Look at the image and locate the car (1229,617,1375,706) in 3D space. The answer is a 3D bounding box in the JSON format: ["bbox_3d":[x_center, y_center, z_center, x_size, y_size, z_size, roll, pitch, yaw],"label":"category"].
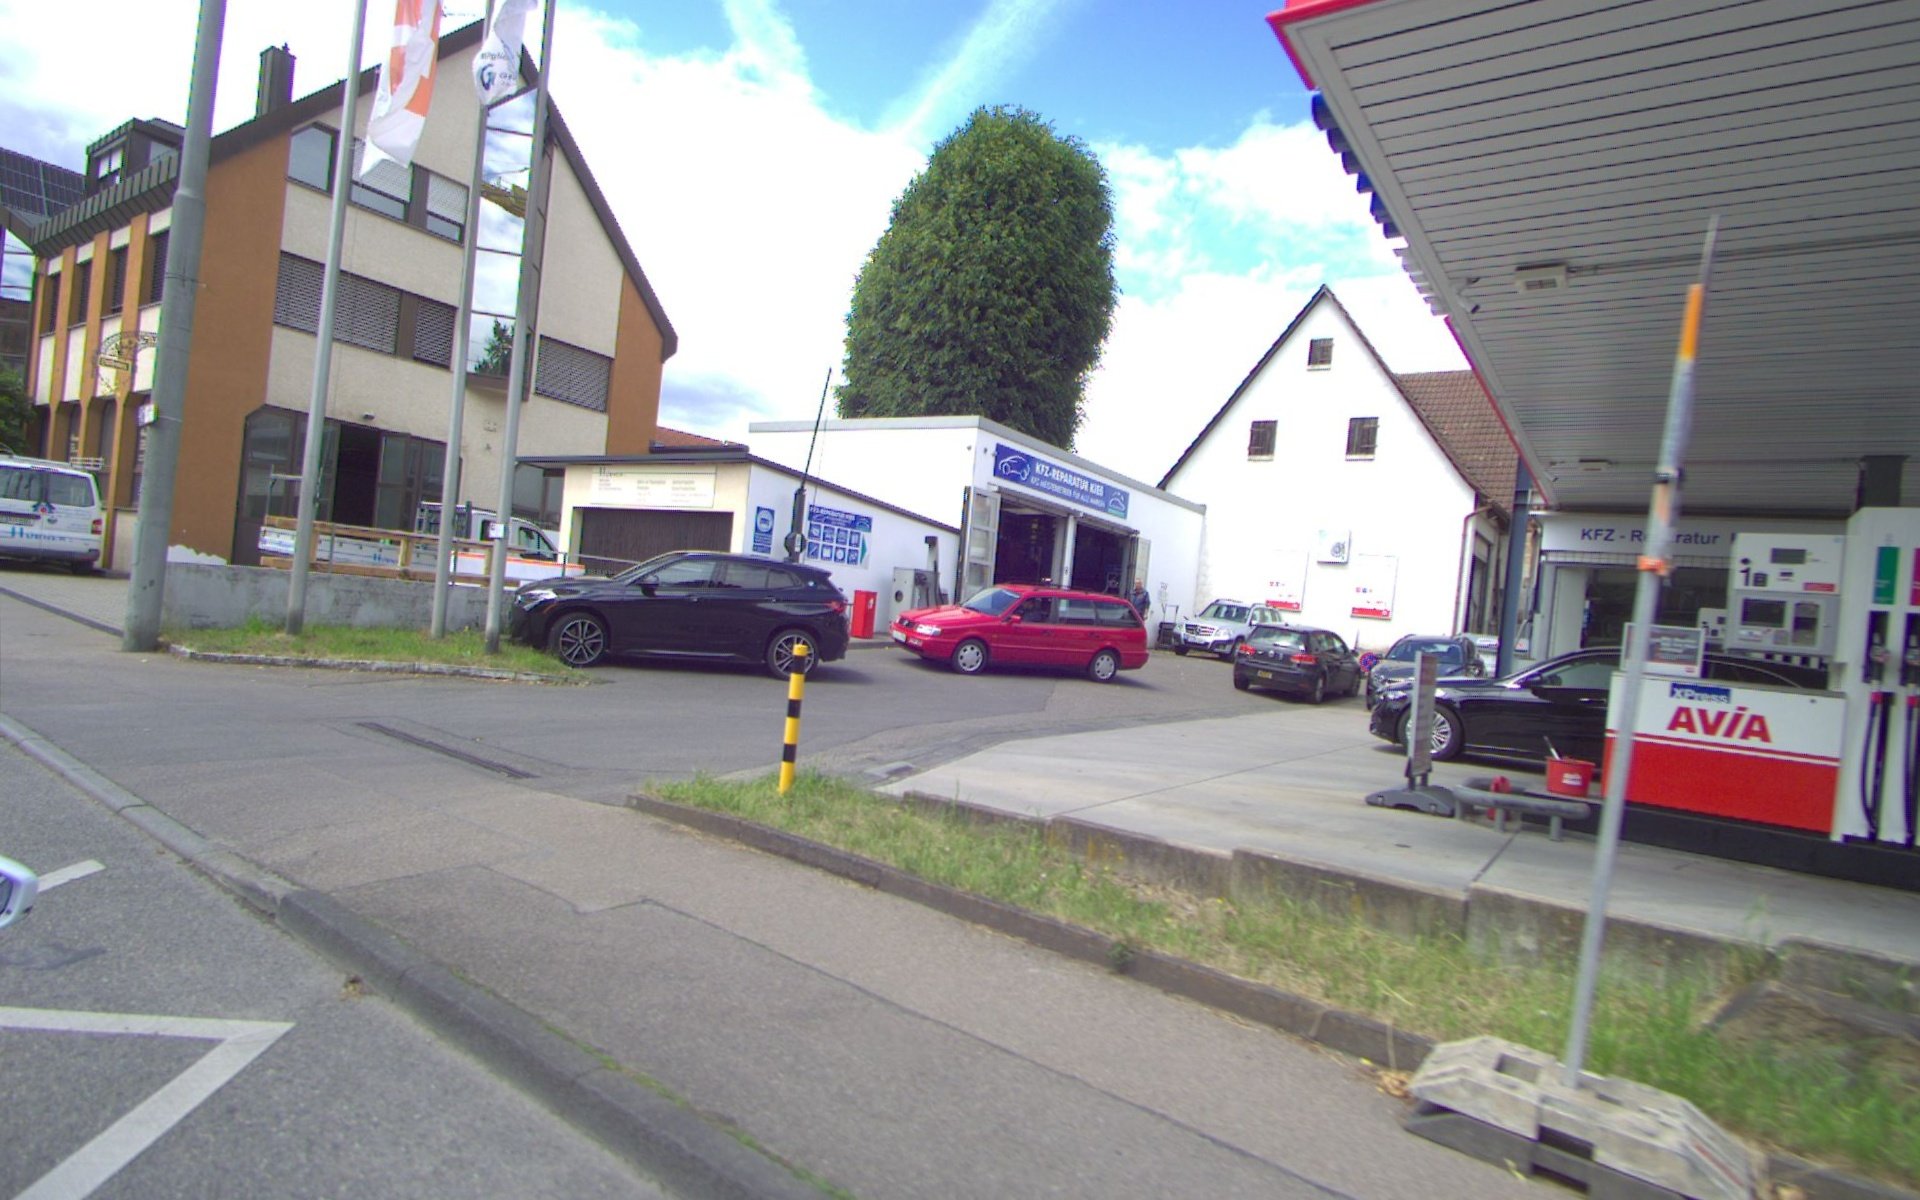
[{"bbox_3d":[7.239,1.255,21.096,1.596,1.461,3.738,11,5,37],"label":"car"}]

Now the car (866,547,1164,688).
[{"bbox_3d":[0.953,0.314,16.966,4.553,1.740,1.810,6,5,-28],"label":"car"}]

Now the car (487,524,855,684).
[{"bbox_3d":[-3.686,0.062,13.123,4.255,1.653,1.627,5,3,-20],"label":"car"}]

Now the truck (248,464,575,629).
[{"bbox_3d":[-10.831,-0.962,20.268,2.320,2.487,5.090,8,0,35],"label":"truck"}]

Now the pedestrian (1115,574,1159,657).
[{"bbox_3d":[4.206,0.374,23.980,0.663,1.866,0.684,7,-1,-8],"label":"pedestrian"}]

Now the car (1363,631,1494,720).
[{"bbox_3d":[9.303,1.445,19.824,1.688,1.478,3.742,3,-1,34],"label":"car"}]

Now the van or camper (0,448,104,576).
[{"bbox_3d":[-18.225,-1.729,19.002,4.476,2.055,1.869,6,-2,34],"label":"van or camper"}]

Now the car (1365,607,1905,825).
[{"bbox_3d":[7.065,1.121,11.014,4.502,1.627,1.630,5,-1,37],"label":"car"}]

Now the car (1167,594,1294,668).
[{"bbox_3d":[7.585,0.894,27.968,1.671,1.583,3.979,10,2,41],"label":"car"}]
